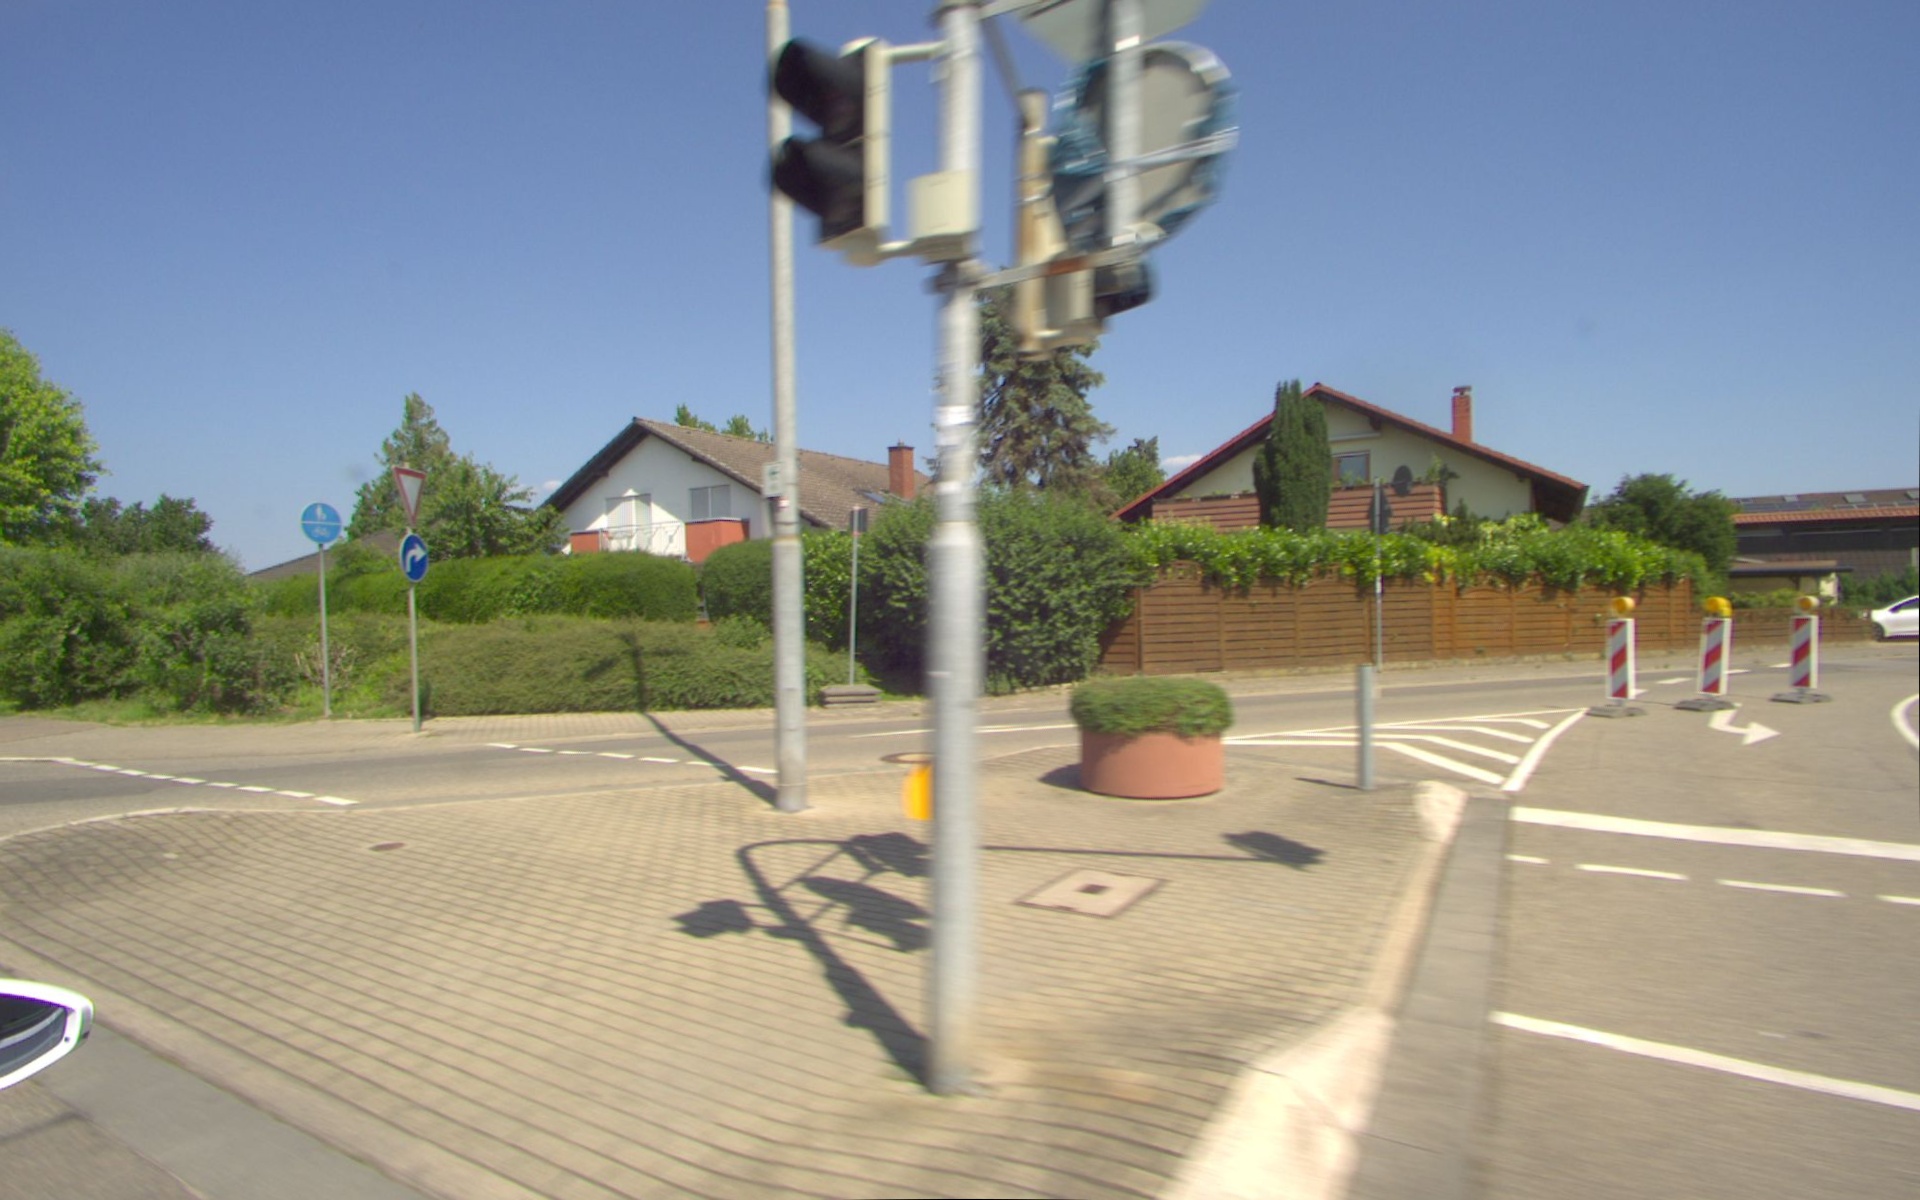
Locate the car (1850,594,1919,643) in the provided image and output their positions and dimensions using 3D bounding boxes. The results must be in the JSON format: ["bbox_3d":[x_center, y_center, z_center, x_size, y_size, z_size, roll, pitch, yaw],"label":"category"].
[{"bbox_3d":[29.653,0.540,30.261,3.927,1.450,1.416,-1,0,32],"label":"car"}]
